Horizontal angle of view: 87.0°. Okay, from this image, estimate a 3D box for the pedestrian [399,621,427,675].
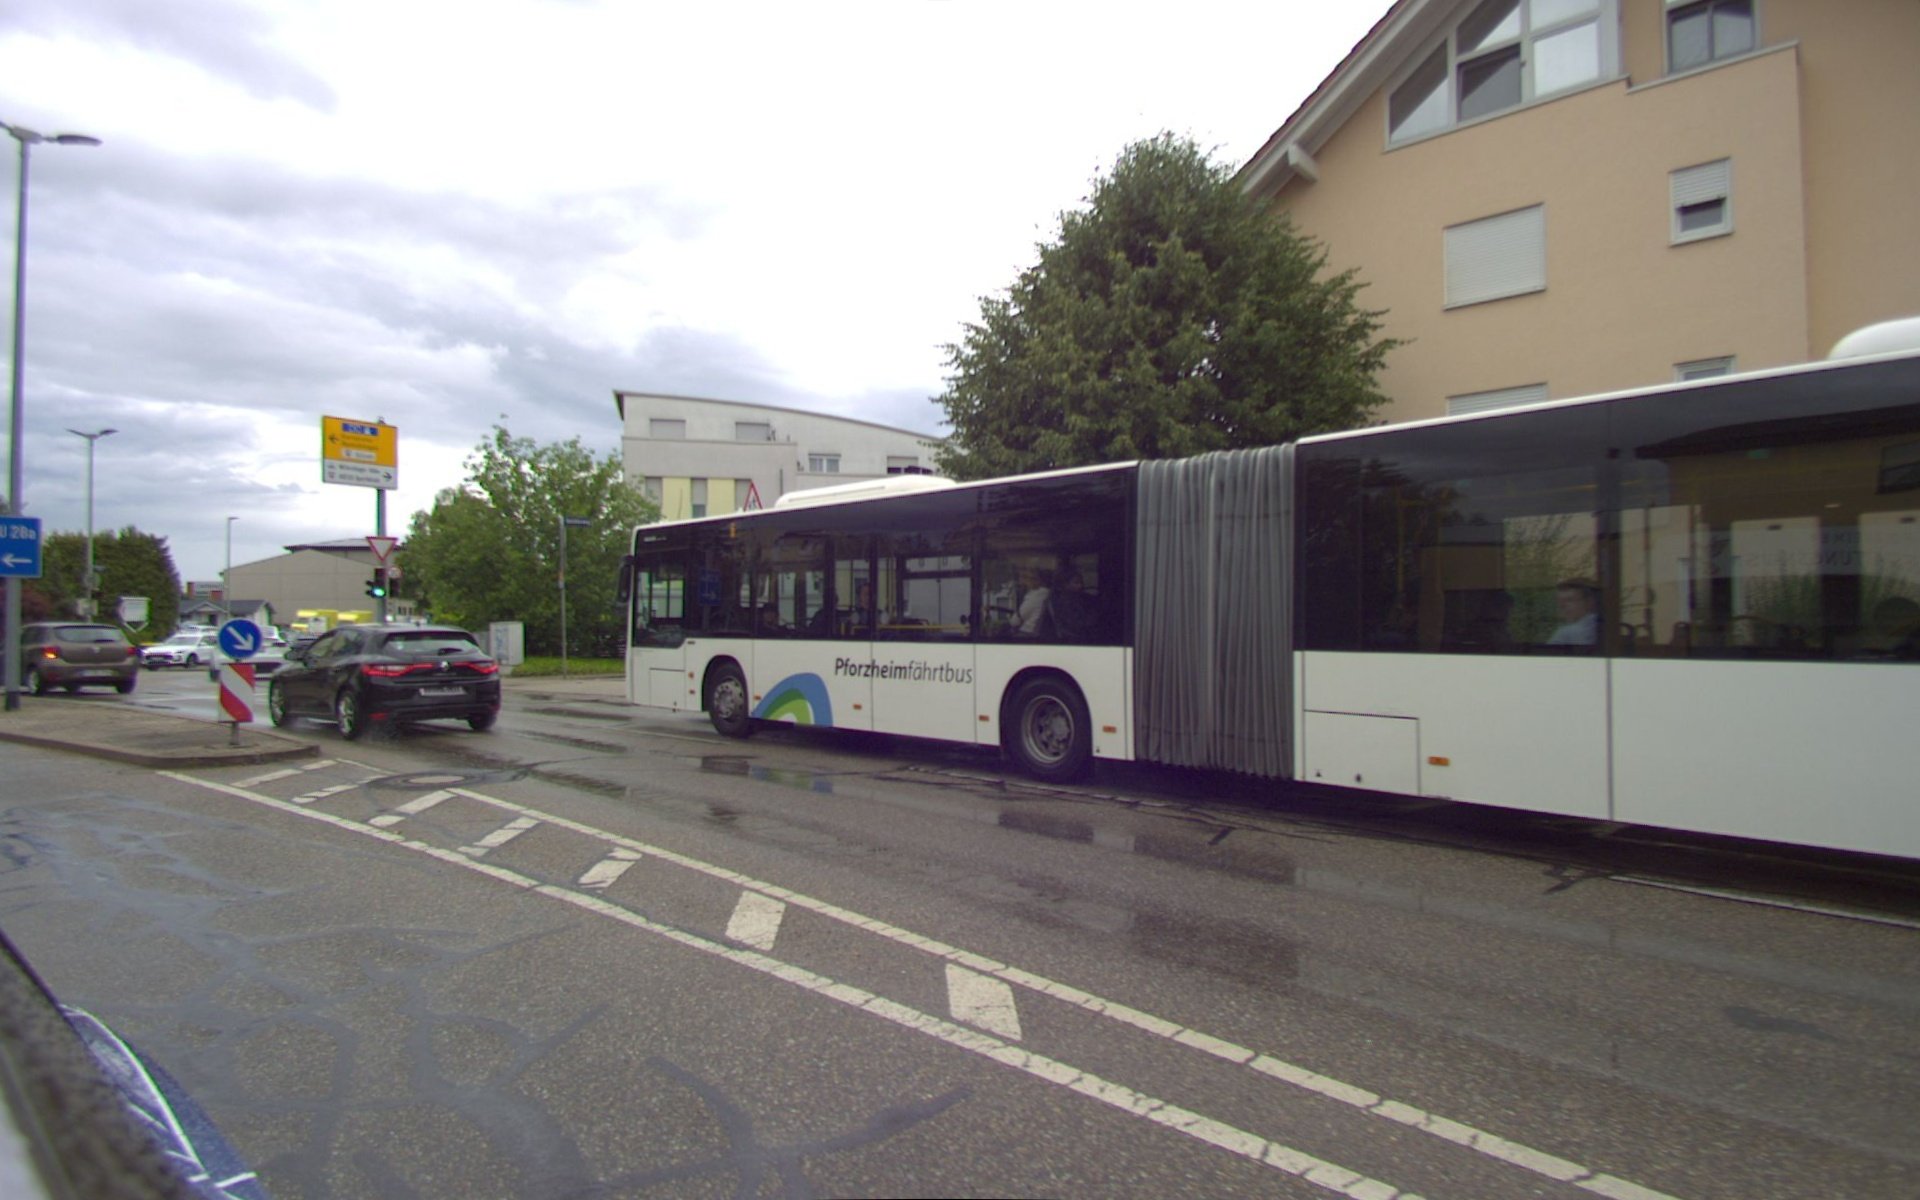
[{"bbox_3d":[-20.938,1.814,38.740,0.835,2.029,0.804,0,-2,-21],"label":"pedestrian"}]

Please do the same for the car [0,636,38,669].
[{"bbox_3d":[-46.361,2.484,47.784,3.938,1.404,1.735,0,1,-6],"label":"car"}]

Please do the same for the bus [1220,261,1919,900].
[{"bbox_3d":[5.730,-0.072,5.371,2.554,3.023,8.414,3,-3,-42],"label":"bus"}]

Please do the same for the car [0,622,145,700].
[{"bbox_3d":[-19.249,1.241,21.512,3.924,1.498,1.809,-1,-1,32],"label":"car"}]

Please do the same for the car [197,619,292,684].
[{"bbox_3d":[-21.615,1.475,30.483,1.924,1.738,4.608,-1,0,-40],"label":"car"}]

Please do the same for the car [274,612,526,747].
[{"bbox_3d":[-7.703,0.957,13.755,4.176,1.530,1.928,-2,-1,45],"label":"car"}]

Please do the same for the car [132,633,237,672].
[{"bbox_3d":[-35.156,2.362,46.000,1.969,1.652,4.005,0,-1,-5],"label":"car"}]

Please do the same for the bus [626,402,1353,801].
[{"bbox_3d":[-0.483,0.154,11.808,9.207,3.023,2.518,-2,-3,45],"label":"bus"}]

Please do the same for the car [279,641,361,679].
[{"bbox_3d":[-26.946,2.495,42.752,1.730,1.446,4.364,0,-2,-15],"label":"car"}]
